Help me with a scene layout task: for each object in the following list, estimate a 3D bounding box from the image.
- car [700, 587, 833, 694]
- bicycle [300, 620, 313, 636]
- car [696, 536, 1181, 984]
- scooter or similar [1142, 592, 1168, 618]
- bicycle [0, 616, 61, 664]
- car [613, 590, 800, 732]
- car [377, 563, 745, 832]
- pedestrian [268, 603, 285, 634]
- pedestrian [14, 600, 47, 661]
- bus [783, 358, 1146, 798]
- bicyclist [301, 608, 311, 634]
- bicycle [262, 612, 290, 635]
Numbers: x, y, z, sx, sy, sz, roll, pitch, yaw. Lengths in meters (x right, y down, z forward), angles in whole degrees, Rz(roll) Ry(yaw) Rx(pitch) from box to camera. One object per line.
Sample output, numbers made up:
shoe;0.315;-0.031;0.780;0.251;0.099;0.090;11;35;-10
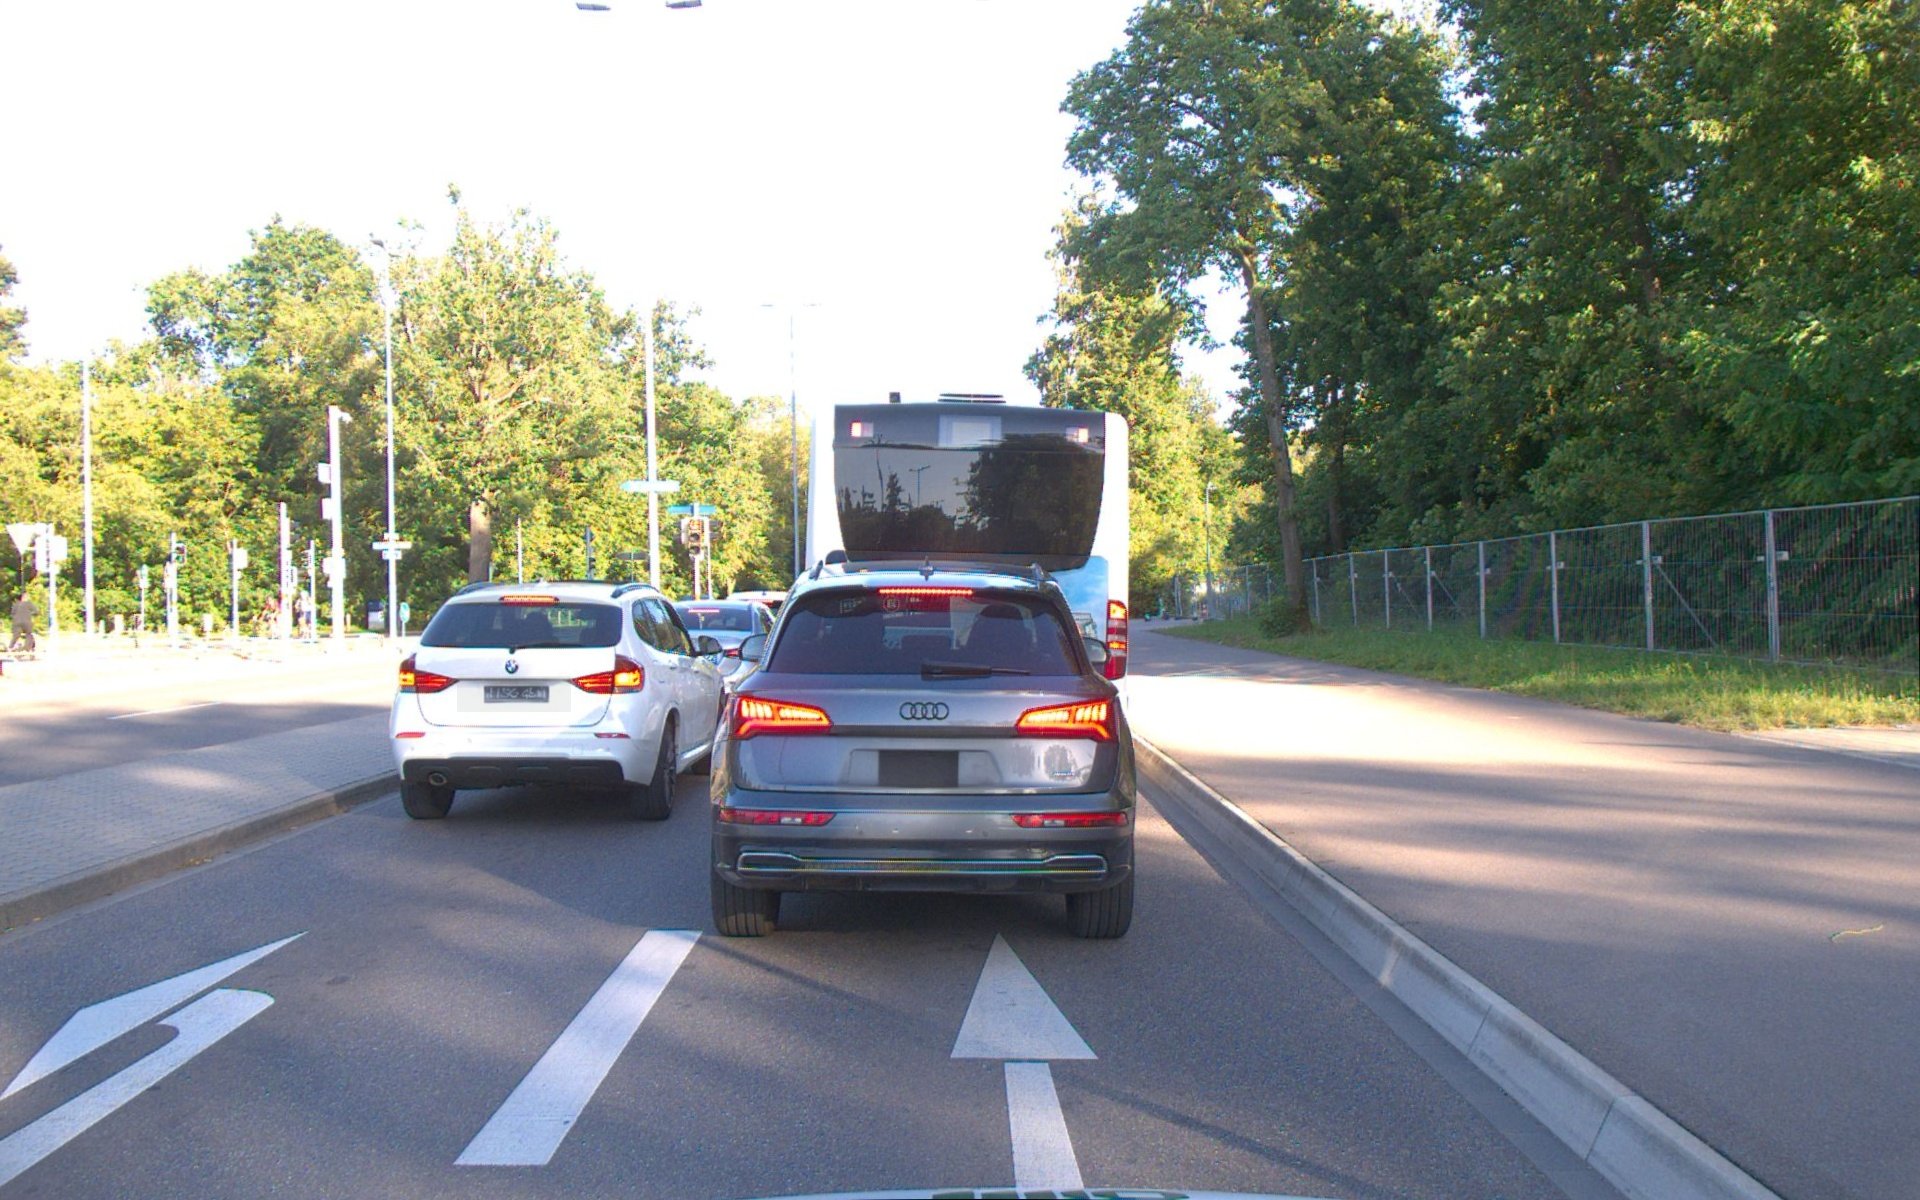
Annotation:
car;-3.128;0.607;27.393;1.771;1.599;4.000;1;1;-1
bicycle;-24.904;1.070;63.022;0.261;0.592;0.838;1;0;-6
car;-0.109;0.588;8.343;1.830;1.693;4.000;1;1;-1
scooter or similar;9.209;0.244;78.211;1.158;1.195;0.659;1;0;10
bicycle;-24.447;1.036;43.538;0.458;1.198;2.003;1;0;-1
car;-2.931;0.650;19.945;1.749;1.469;4.276;1;1;-3
car;-2.712;0.595;12.268;1.683;1.608;4.433;1;0;-1
pedestrian;-24.525;0.663;59.337;0.436;1.128;0.378;1;-1;-7
pedestrian;-24.454;0.800;43.524;0.472;1.589;0.648;1;-1;-1
bus;0.055;-0.202;15.124;2.624;3.196;5.882;1;1;0
bicyclist;-24.900;0.814;62.999;0.268;0.979;0.240;1;-1;-6
bicycle;-24.533;0.831;59.331;0.566;0.814;1.276;1;0;-6
